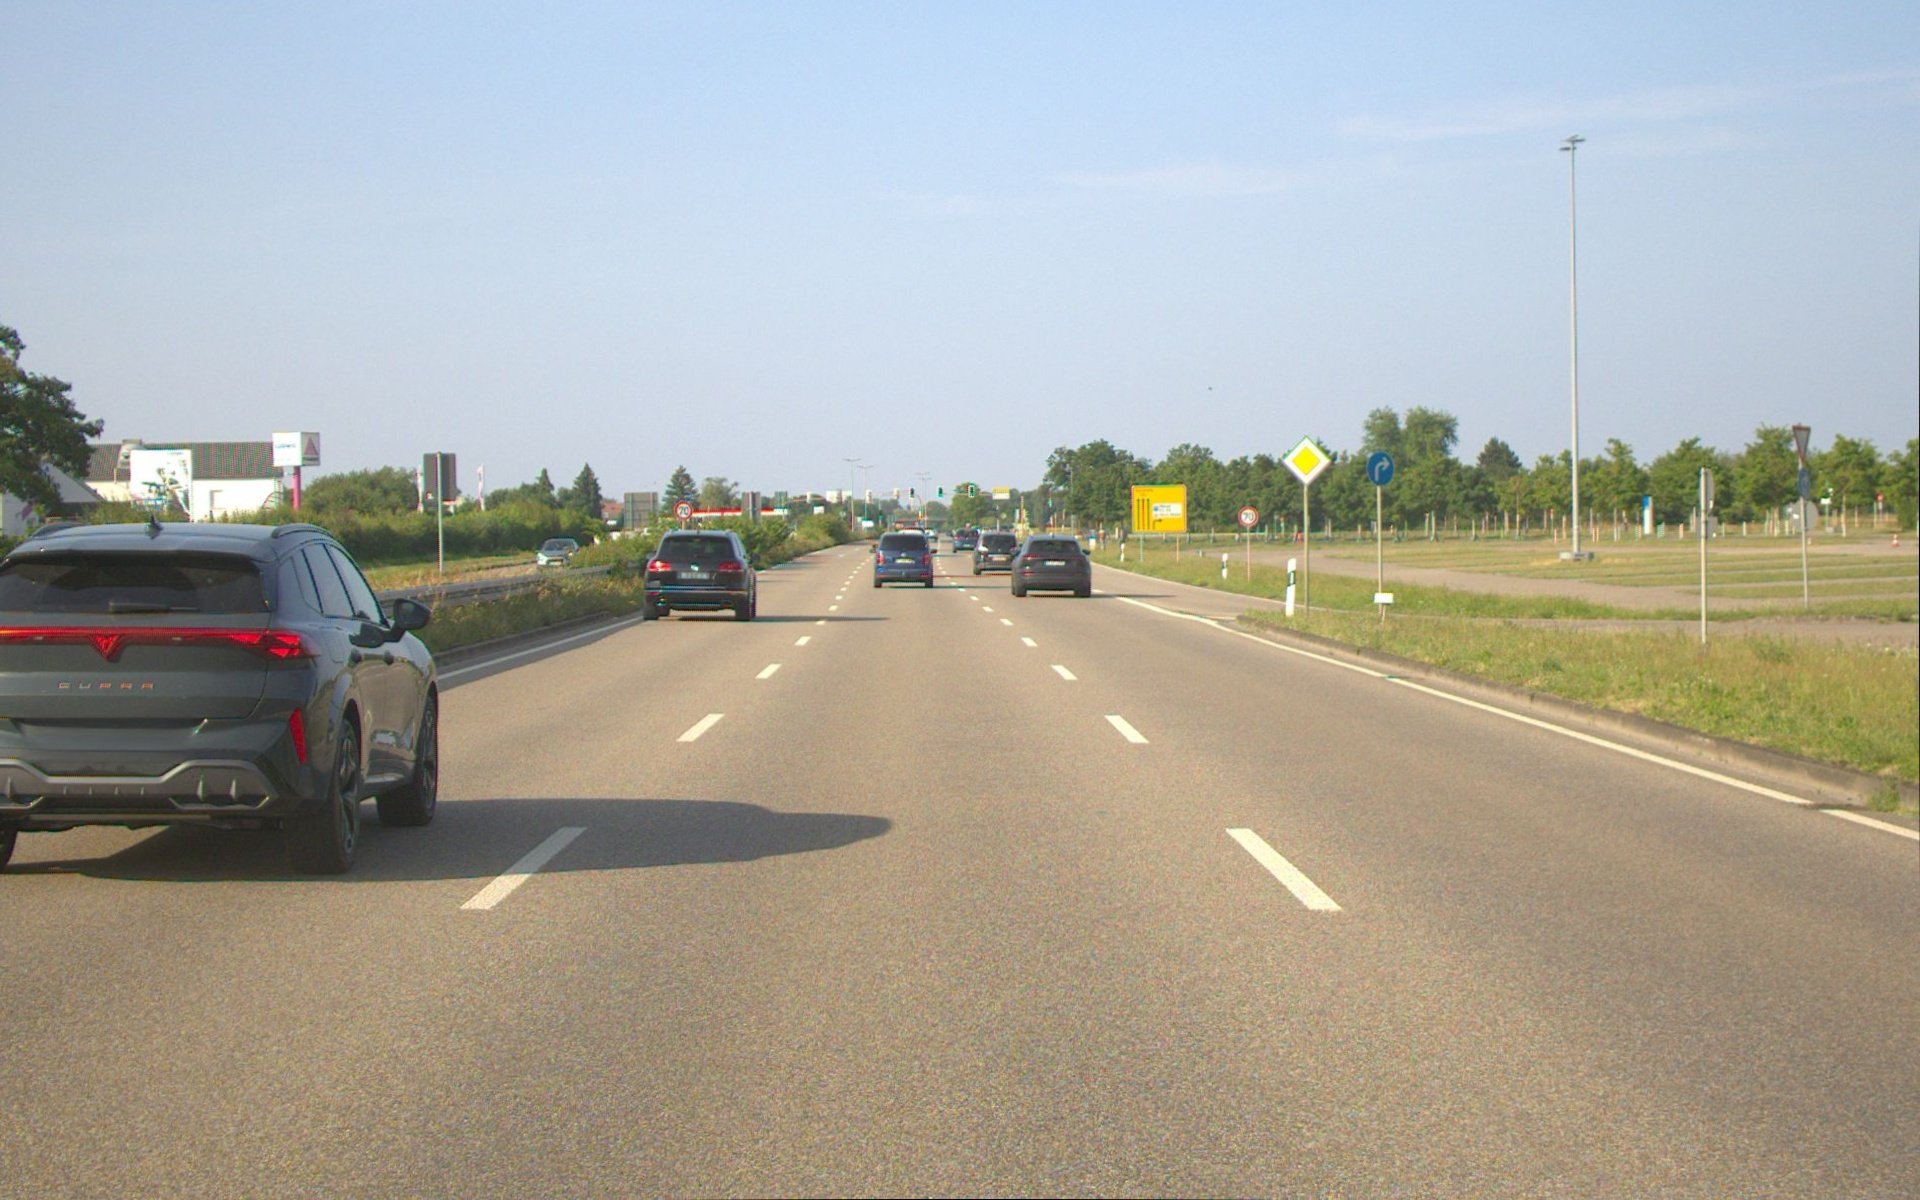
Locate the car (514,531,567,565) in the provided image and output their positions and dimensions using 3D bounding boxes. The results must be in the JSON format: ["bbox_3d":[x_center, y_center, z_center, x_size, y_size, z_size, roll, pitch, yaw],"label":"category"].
[{"bbox_3d":[-17.934,-2.228,147.059,1.779,1.419,4.000,-1,1,0],"label":"car"}]

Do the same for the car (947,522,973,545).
[{"bbox_3d":[0.015,-3.950,205.124,1.503,1.309,3.156,2,1,0],"label":"car"}]

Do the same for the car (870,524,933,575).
[{"bbox_3d":[-1.749,-1.534,103.448,1.813,1.458,4.401,2,1,0],"label":"car"}]

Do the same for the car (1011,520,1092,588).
[{"bbox_3d":[2.365,-1.234,90.179,1.932,1.674,4.401,2,1,0],"label":"car"}]

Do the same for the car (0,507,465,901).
[{"bbox_3d":[-3.637,0.382,16.615,1.845,1.606,4.401,2,1,0],"label":"car"}]

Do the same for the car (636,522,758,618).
[{"bbox_3d":[-4.890,-0.584,64.369,1.932,1.674,4.401,2,1,0],"label":"car"}]

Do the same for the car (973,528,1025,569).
[{"bbox_3d":[1.463,-1.978,130.708,1.873,1.458,3.981,2,1,0],"label":"car"}]
